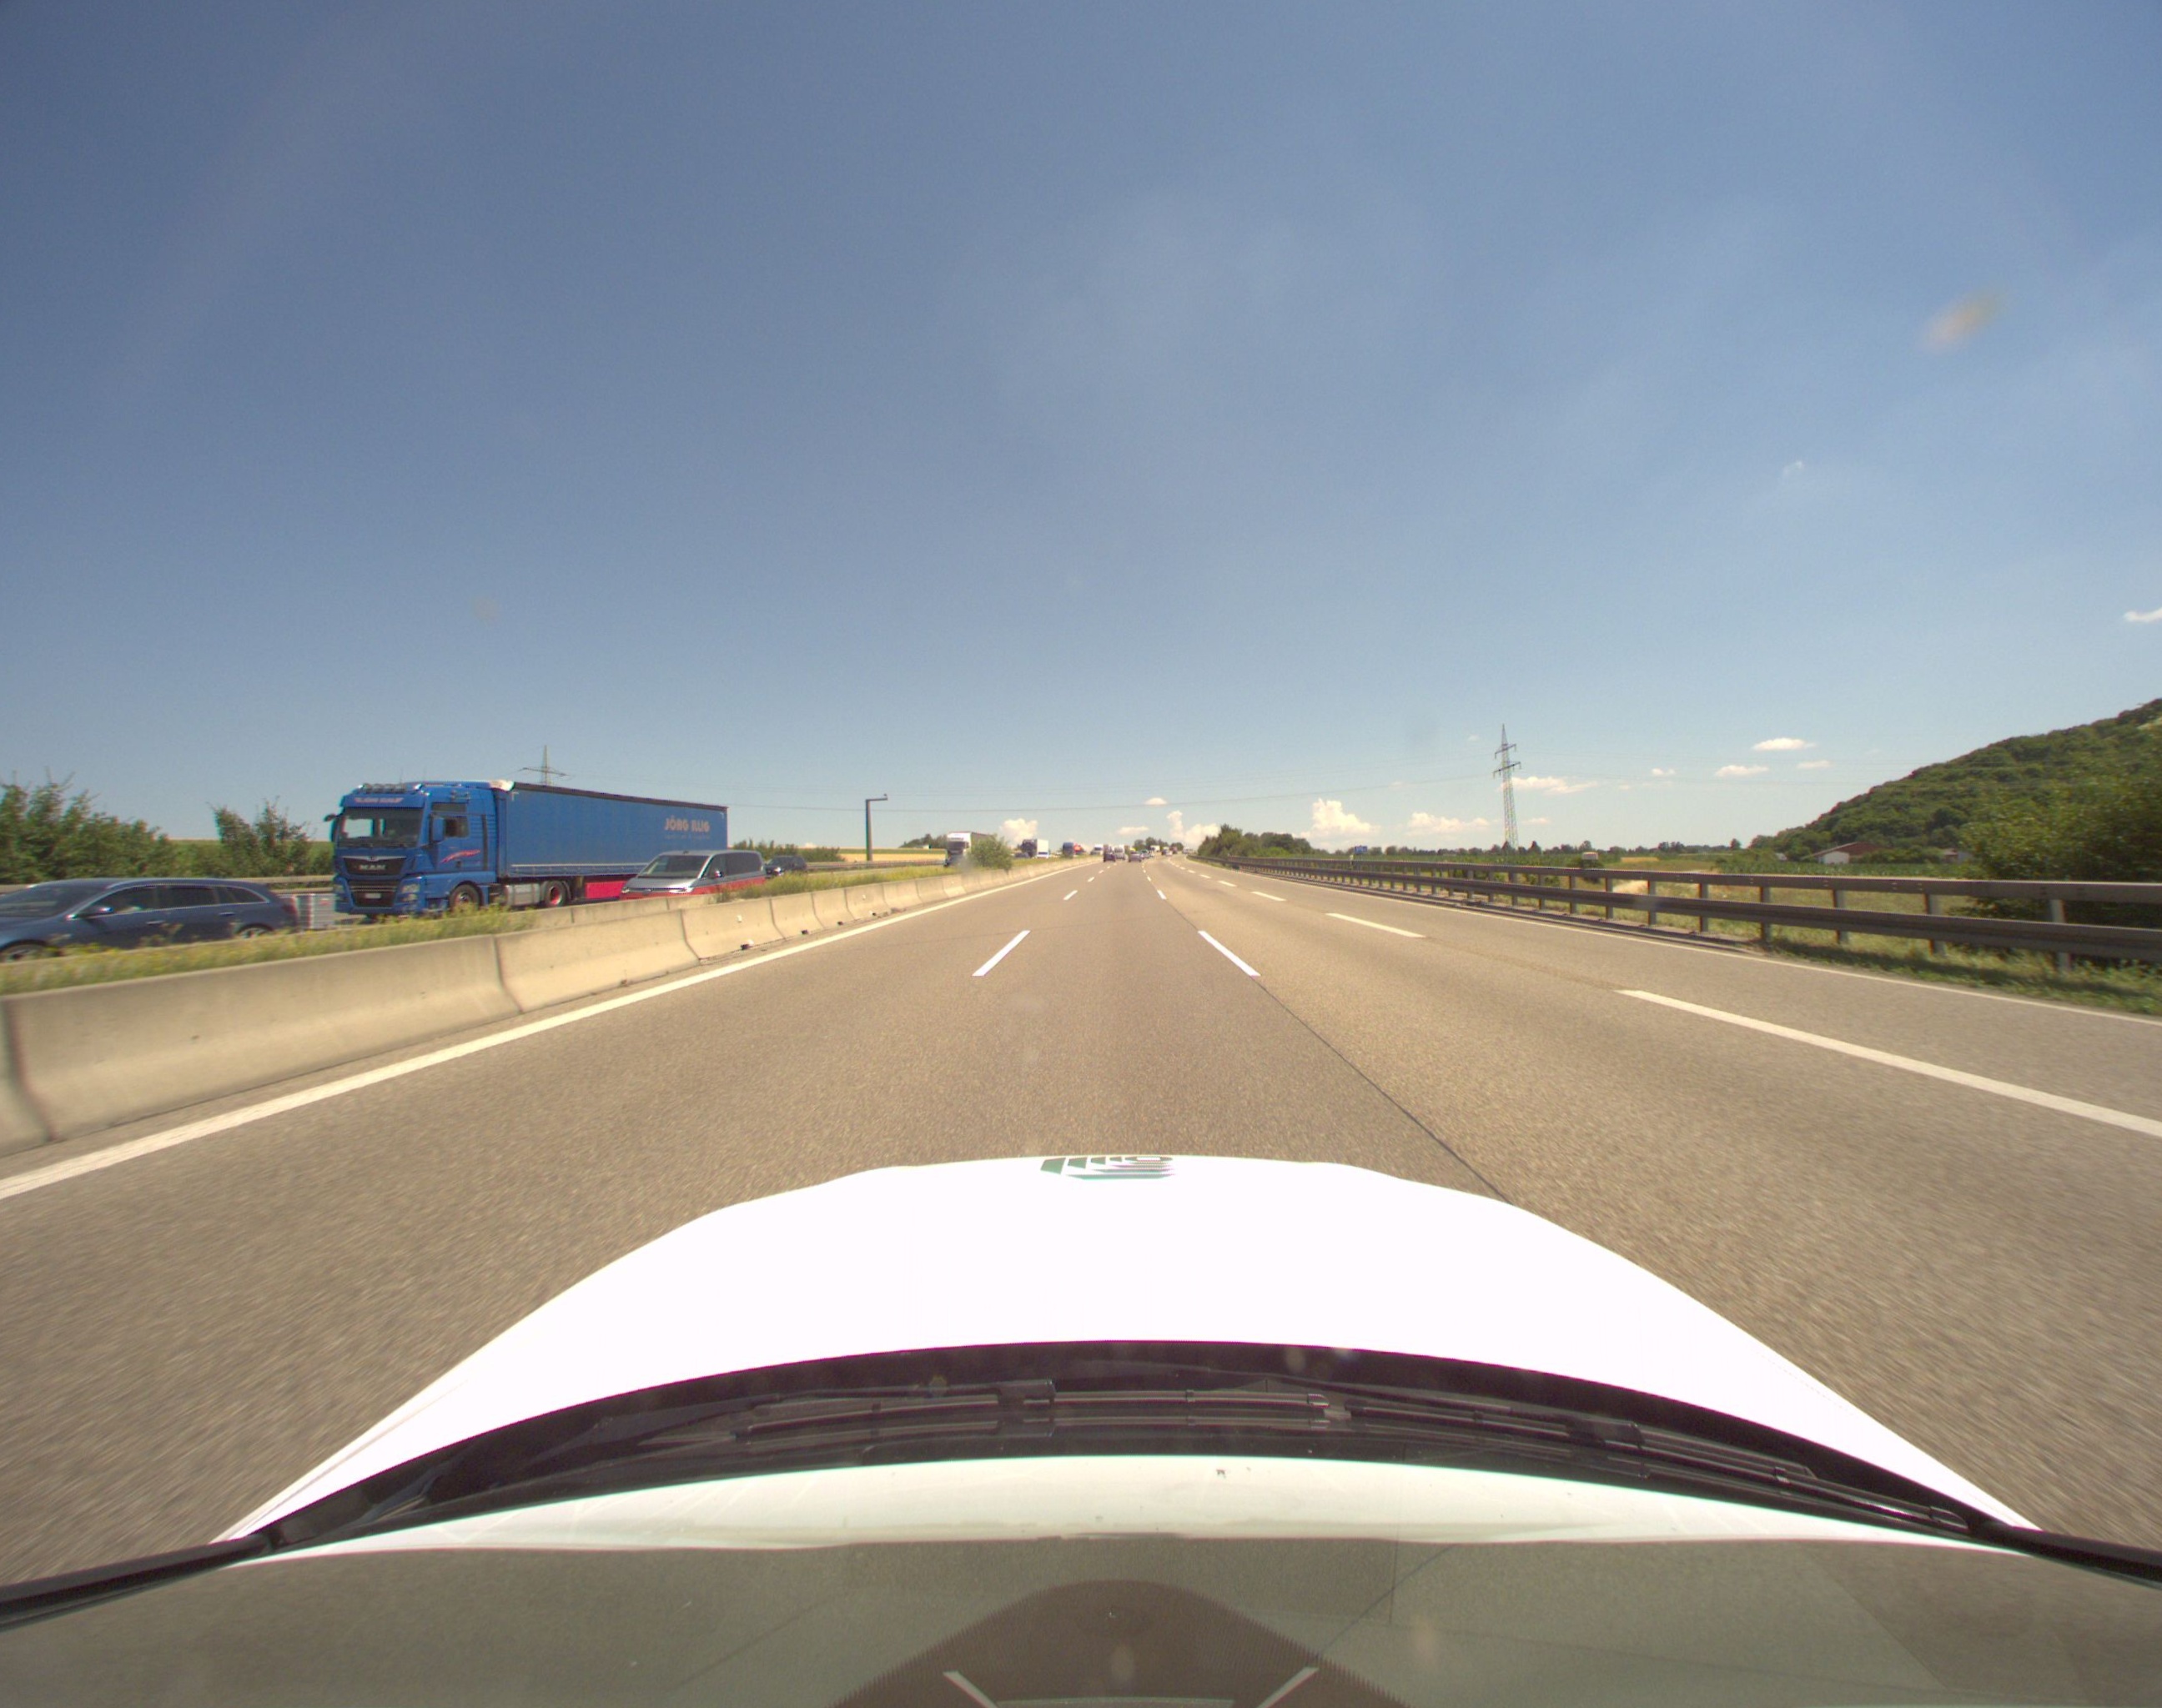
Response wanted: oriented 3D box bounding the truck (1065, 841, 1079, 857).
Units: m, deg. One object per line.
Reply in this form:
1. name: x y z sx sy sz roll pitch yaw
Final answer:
1. truck: -2.084 -1.220 198.348 2.762 3.938 6.148 -1 0 6

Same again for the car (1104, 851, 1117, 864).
1. car: 4.475 0.438 122.465 1.839 1.861 4.210 0 1 4

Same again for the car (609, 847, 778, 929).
1. car: -10.357 0.838 22.355 1.906 1.970 5.448 0 0 1

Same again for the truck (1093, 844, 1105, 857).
1. truck: 5.808 -1.061 260.498 2.836 4.027 6.531 0 0 9

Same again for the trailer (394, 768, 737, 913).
1. trailer: -17.986 -0.367 30.819 3.148 4.194 14.391 0 0 3

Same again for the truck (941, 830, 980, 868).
1. truck: -14.062 -0.563 95.256 3.117 4.328 6.155 0 0 5

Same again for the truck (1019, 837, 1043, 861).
1. truck: -9.120 -0.902 148.573 3.211 4.206 7.137 -1 0 5

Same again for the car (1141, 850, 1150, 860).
1. car: 14.152 0.244 178.851 1.985 1.904 4.002 -1 -3 3

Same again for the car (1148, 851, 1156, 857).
1. car: 18.429 0.049 211.212 1.983 1.552 4.008 1 1 7

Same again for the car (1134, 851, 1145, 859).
1. car: 11.591 0.194 160.512 1.986 1.585 4.001 -1 -1 1

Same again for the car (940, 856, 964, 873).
1. car: -11.738 0.945 74.231 1.619 1.404 3.730 0 0 0

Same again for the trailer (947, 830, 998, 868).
1. trailer: -13.412 -0.560 102.138 3.108 4.324 14.565 0 0 5

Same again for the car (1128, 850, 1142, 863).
1. car: 7.977 0.370 119.617 1.985 1.750 4.002 0 -3 3

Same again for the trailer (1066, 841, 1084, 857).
1. trailer: -1.371 -1.214 204.594 2.824 3.958 13.753 0 0 7

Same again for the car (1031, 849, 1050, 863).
1. car: -5.466 0.322 111.175 1.985 1.904 5.682 0 -1 4

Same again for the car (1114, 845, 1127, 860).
1. car: 7.259 -0.224 148.892 2.170 2.625 4.677 0 -3 5

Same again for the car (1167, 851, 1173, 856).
1. car: 26.482 -0.057 242.524 1.891 1.442 4.009 0 0 7

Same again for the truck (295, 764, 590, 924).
1. truck: -18.340 -0.238 24.197 3.064 4.090 6.939 0 0 2

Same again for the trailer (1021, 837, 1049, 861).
1. trailer: -8.632 -0.975 155.044 3.226 4.387 14.049 0 0 6

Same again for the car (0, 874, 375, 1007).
1. car: -14.290 1.138 12.431 1.906 1.541 5.744 0 0 1
